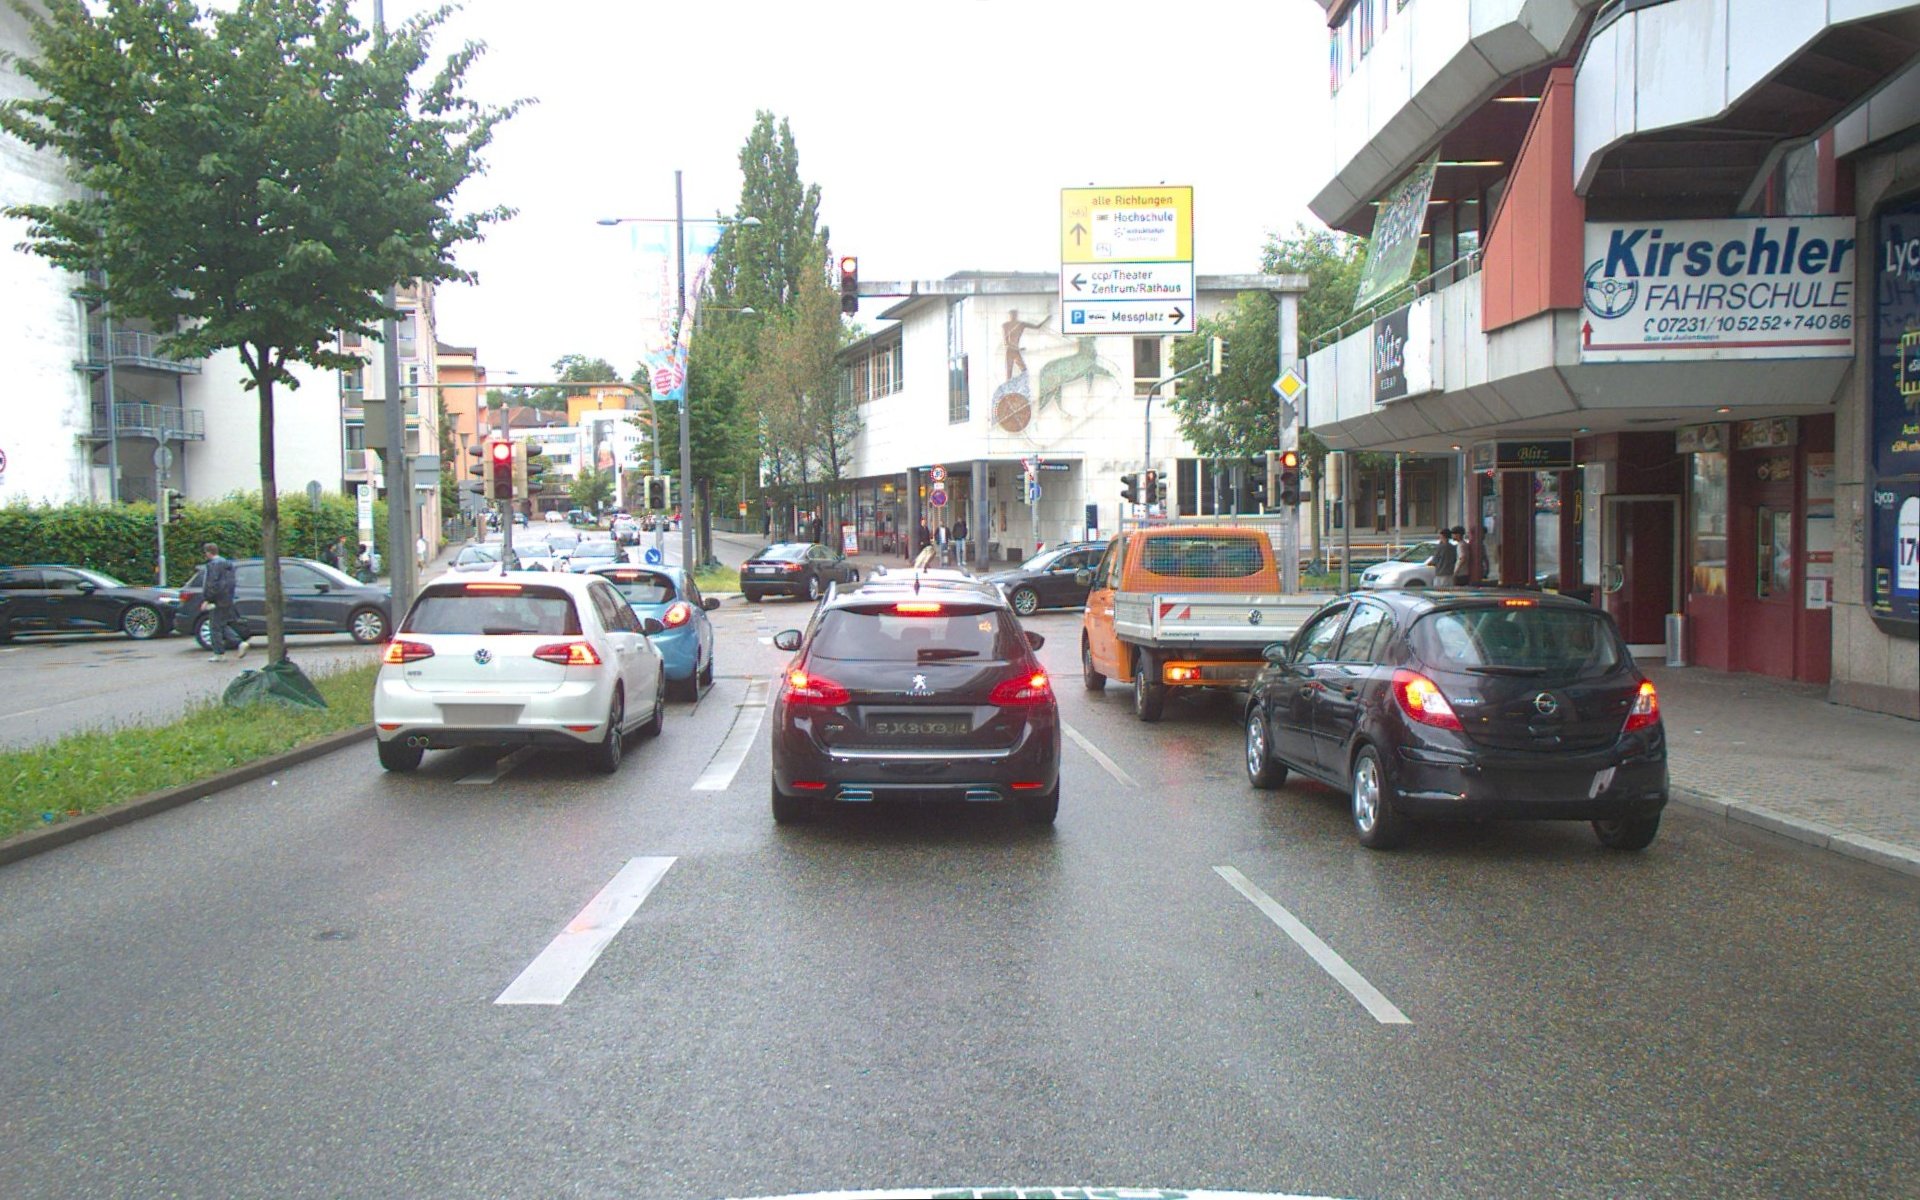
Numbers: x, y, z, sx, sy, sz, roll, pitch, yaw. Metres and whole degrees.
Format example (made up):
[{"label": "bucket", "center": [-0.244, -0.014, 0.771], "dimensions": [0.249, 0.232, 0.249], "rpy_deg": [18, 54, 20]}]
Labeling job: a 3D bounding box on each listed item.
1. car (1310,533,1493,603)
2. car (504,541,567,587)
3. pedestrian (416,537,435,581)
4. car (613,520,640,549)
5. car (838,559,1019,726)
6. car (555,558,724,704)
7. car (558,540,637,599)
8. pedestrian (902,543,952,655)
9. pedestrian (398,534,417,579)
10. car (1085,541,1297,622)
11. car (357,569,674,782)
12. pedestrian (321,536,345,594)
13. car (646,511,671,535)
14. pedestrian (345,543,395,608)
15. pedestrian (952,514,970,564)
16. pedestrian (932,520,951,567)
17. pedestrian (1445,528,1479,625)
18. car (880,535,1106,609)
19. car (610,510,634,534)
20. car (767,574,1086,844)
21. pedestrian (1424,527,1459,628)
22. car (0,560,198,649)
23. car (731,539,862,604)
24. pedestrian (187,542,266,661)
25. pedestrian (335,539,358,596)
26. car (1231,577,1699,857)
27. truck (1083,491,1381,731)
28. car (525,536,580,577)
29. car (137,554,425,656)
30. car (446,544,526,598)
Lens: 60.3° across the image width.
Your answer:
[{"label": "car", "center": [10.276, -0.712, 38.560], "dimensions": [3.828, 1.512, 1.618], "rpy_deg": [1, -1, -14]}, {"label": "car", "center": [-14.410, -1.249, 56.310], "dimensions": [1.602, 1.512, 3.604], "rpy_deg": [1, 2, -7]}, {"label": "pedestrian", "center": [-21.575, -1.645, 66.760], "dimensions": [0.584, 1.758, 0.655], "rpy_deg": [1, -1, -9]}, {"label": "car", "center": [-21.935, -4.291, 108.795], "dimensions": [1.713, 1.669, 3.989], "rpy_deg": [1, -1, -11]}, {"label": "car", "center": [-0.334, 0.350, 17.288], "dimensions": [1.662, 1.512, 3.793], "rpy_deg": [1, 2, -1]}, {"label": "car", "center": [-3.664, 0.292, 19.386], "dimensions": [1.601, 1.512, 3.606], "rpy_deg": [1, 2, -6]}, {"label": "car", "center": [-10.858, -0.882, 49.776], "dimensions": [1.710, 1.607, 3.996], "rpy_deg": [1, -1, -4]}, {"label": "pedestrian", "center": [-0.507, -0.011, 25.785], "dimensions": [0.733, 1.710, 0.709], "rpy_deg": [1, -1, 1]}, {"label": "pedestrian", "center": [-22.101, -1.729, 66.144], "dimensions": [0.584, 1.758, 0.655], "rpy_deg": [1, -1, -9]}, {"label": "car", "center": [4.609, -0.351, 33.152], "dimensions": [3.917, 1.512, 1.618], "rpy_deg": [1, -1, -12]}, {"label": "car", "center": [-3.417, 0.495, 13.421], "dimensions": [1.742, 1.454, 3.840], "rpy_deg": [1, 1, -4]}, {"label": "pedestrian", "center": [-19.565, -1.095, 51.649], "dimensions": [0.529, 1.778, 0.746], "rpy_deg": [1, -1, -9]}, {"label": "car", "center": [-27.029, -6.888, 148.362], "dimensions": [1.679, 1.970, 3.979], "rpy_deg": [1, -1, -18]}, {"label": "pedestrian", "center": [-14.983, -0.612, 42.024], "dimensions": [1.041, 1.606, 0.683], "rpy_deg": [1, -1, -6]}, {"label": "pedestrian", "center": [0.033, -2.377, 64.758], "dimensions": [0.623, 1.930, 0.734], "rpy_deg": [1, -1, 5]}, {"label": "pedestrian", "center": [-0.711, -2.178, 64.173], "dimensions": [0.623, 1.788, 0.734], "rpy_deg": [1, -1, 5]}, {"label": "pedestrian", "center": [8.743, -0.402, 28.805], "dimensions": [0.388, 1.668, 0.504], "rpy_deg": [-1, -1, 0]}, {"label": "car", "center": [0.688, -0.609, 35.798], "dimensions": [4.638, 1.512, 1.634], "rpy_deg": [1, 2, -12]}, {"label": "car", "center": [-30.131, -6.909, 147.414], "dimensions": [1.679, 1.915, 3.979], "rpy_deg": [1, -1, -18]}, {"label": "car", "center": [-0.276, 0.574, 11.043], "dimensions": [1.742, 1.454, 3.840], "rpy_deg": [1, 1, -3]}, {"label": "pedestrian", "center": [8.277, -0.380, 28.461], "dimensions": [0.417, 1.712, 0.450], "rpy_deg": [-1, -1, -2]}, {"label": "car", "center": [-17.305, 0.088, 31.831], "dimensions": [4.415, 1.479, 1.787], "rpy_deg": [-3, 3, -14]}, {"label": "car", "center": [-4.162, -0.702, 42.860], "dimensions": [1.688, 1.516, 4.735], "rpy_deg": [1, -1, 16]}, {"label": "pedestrian", "center": [-11.379, 0.025, 25.673], "dimensions": [0.905, 1.815, 0.708], "rpy_deg": [1, -1, -7]}, {"label": "pedestrian", "center": [-19.734, -1.041, 53.217], "dimensions": [0.528, 1.778, 0.564], "rpy_deg": [1, -1, -6]}, {"label": "car", "center": [3.023, 0.604, 10.764], "dimensions": [1.585, 1.454, 3.838], "rpy_deg": [1, 1, -5]}, {"label": "truck", "center": [2.726, 0.029, 17.916], "dimensions": [2.133, 2.210, 5.018], "rpy_deg": [1, 2, -3]}, {"label": "car", "center": [-15.464, -1.659, 62.889], "dimensions": [1.602, 1.512, 3.604], "rpy_deg": [1, 2, -7]}, {"label": "car", "center": [-11.941, 0.048, 29.398], "dimensions": [4.415, 1.479, 1.787], "rpy_deg": [-3, 3, -14]}, {"label": "car", "center": [-13.899, -0.888, 48.675], "dimensions": [1.543, 1.512, 3.607], "rpy_deg": [1, 2, -4]}]
